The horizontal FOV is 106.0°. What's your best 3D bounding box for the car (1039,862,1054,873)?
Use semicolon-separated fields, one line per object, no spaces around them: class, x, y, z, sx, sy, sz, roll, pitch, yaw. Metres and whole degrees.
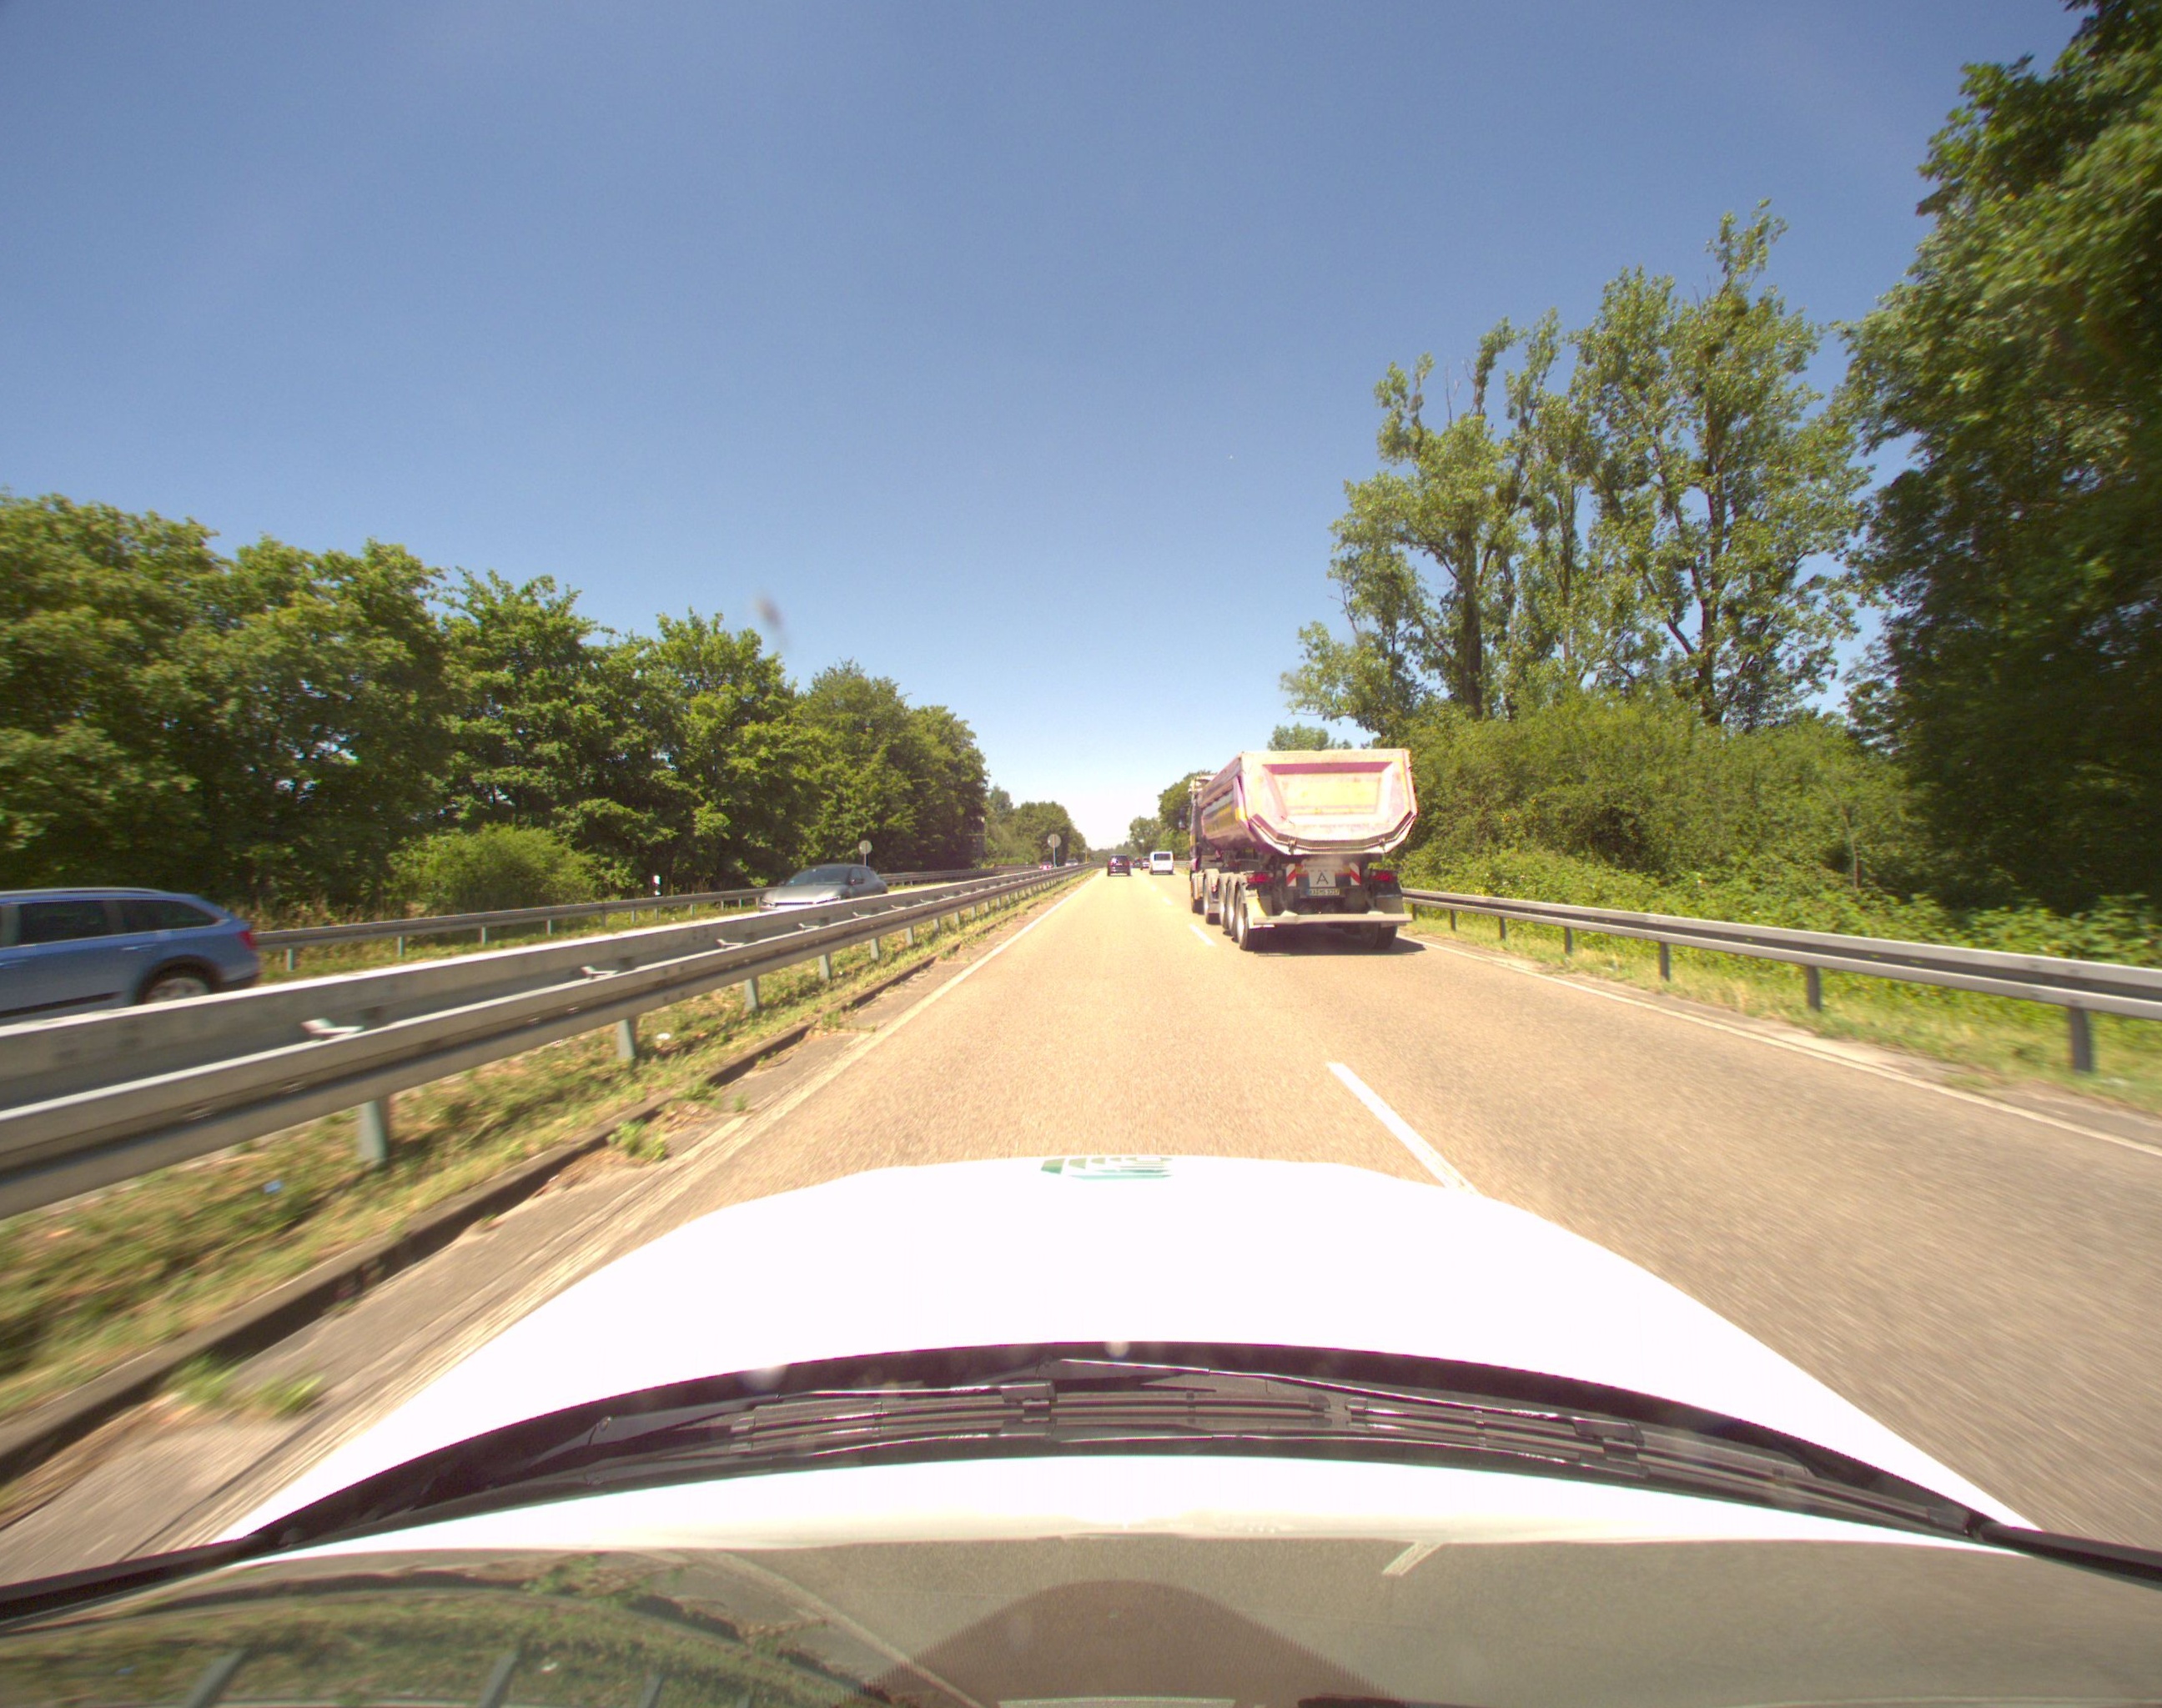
car;-4.924;1.957;117.908;1.790;1.391;4.002;-3;0;2

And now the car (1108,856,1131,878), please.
car;3.148;1.101;67.213;1.850;1.671;4.001;0;-2;2

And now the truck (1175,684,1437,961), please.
truck;3.921;-0.413;17.824;2.710;3.930;12.375;-1;0;2

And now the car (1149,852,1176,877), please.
car;7.110;0.900;71.314;1.986;2.077;4.001;-2;-1;1

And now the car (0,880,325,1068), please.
car;-10.248;1.123;7.502;1.805;1.543;4.930;-3;0;2

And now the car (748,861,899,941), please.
car;-6.139;1.057;20.070;1.985;1.632;4.556;-3;0;3

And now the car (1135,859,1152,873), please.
car;7.080;1.344;92.683;1.598;1.420;3.522;-2;-1;0

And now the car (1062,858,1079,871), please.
car;-1.441;1.513;117.571;1.985;1.794;4.752;-3;-1;4

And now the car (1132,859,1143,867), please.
car;10.059;1.571;145.558;1.598;1.420;3.522;-2;-1;0
